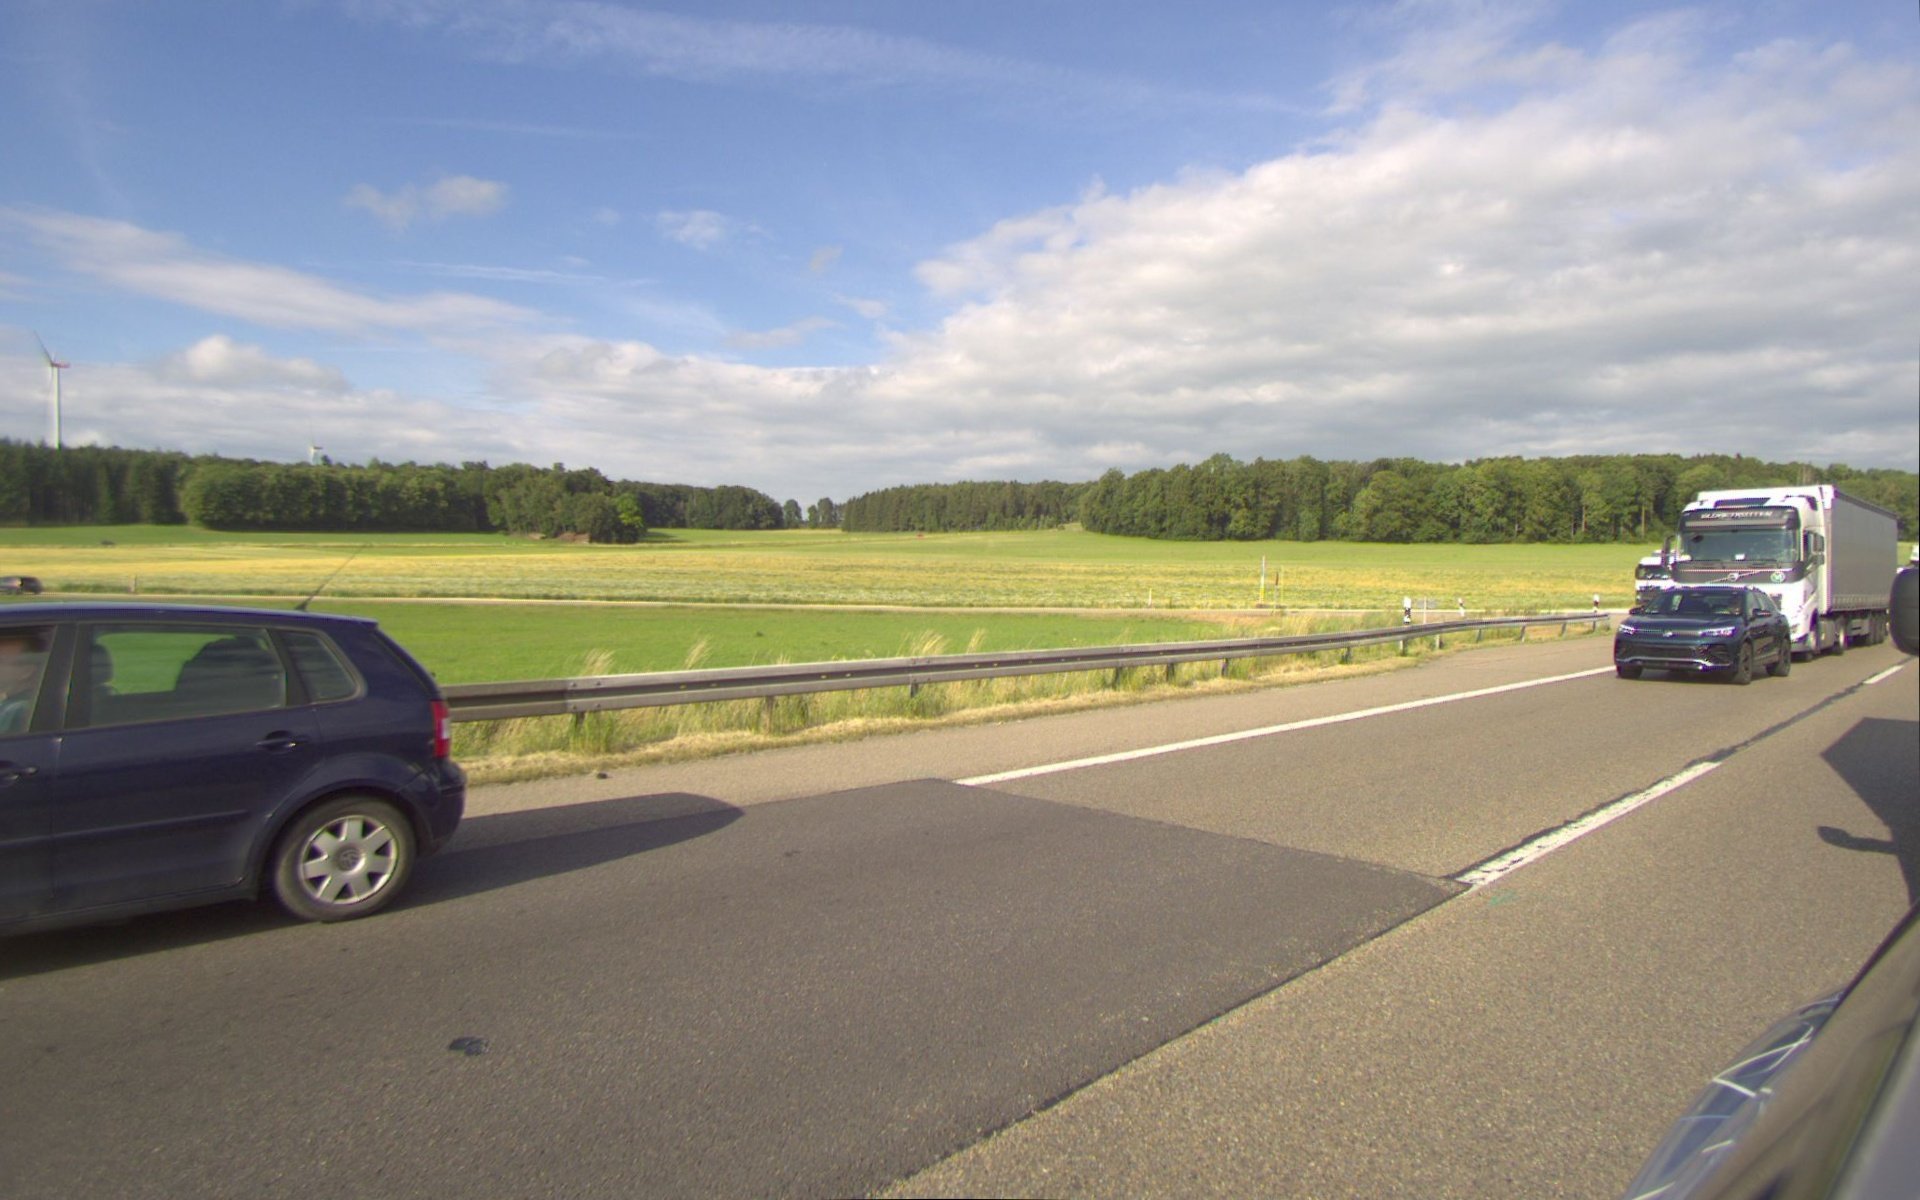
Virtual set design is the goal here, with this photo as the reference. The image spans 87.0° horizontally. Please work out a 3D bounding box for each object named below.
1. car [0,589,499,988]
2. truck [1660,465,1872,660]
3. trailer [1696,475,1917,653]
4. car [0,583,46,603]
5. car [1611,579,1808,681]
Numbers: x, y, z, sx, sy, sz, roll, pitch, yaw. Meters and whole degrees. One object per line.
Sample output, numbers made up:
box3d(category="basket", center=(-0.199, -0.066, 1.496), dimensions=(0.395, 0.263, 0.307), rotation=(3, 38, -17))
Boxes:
box3d(category="car", center=(-4.179, 0.694, 4.312), dimensions=(3.710, 1.464, 1.712), rotation=(-1, 1, -42))
box3d(category="truck", center=(19.341, -0.819, 24.160), dimensions=(6.387, 4.040, 2.840), rotation=(-1, 0, -41))
box3d(category="trailer", center=(23.682, -0.880, 27.936), dimensions=(11.916, 4.032, 2.824), rotation=(-1, 0, -41))
box3d(category="car", center=(-73.118, -0.535, 78.057), dimensions=(4.154, 1.505, 1.832), rotation=(0, 0, 12))
box3d(category="car", center=(13.442, 0.449, 18.071), dimensions=(4.047, 1.616, 1.997), rotation=(-1, 1, -41))
